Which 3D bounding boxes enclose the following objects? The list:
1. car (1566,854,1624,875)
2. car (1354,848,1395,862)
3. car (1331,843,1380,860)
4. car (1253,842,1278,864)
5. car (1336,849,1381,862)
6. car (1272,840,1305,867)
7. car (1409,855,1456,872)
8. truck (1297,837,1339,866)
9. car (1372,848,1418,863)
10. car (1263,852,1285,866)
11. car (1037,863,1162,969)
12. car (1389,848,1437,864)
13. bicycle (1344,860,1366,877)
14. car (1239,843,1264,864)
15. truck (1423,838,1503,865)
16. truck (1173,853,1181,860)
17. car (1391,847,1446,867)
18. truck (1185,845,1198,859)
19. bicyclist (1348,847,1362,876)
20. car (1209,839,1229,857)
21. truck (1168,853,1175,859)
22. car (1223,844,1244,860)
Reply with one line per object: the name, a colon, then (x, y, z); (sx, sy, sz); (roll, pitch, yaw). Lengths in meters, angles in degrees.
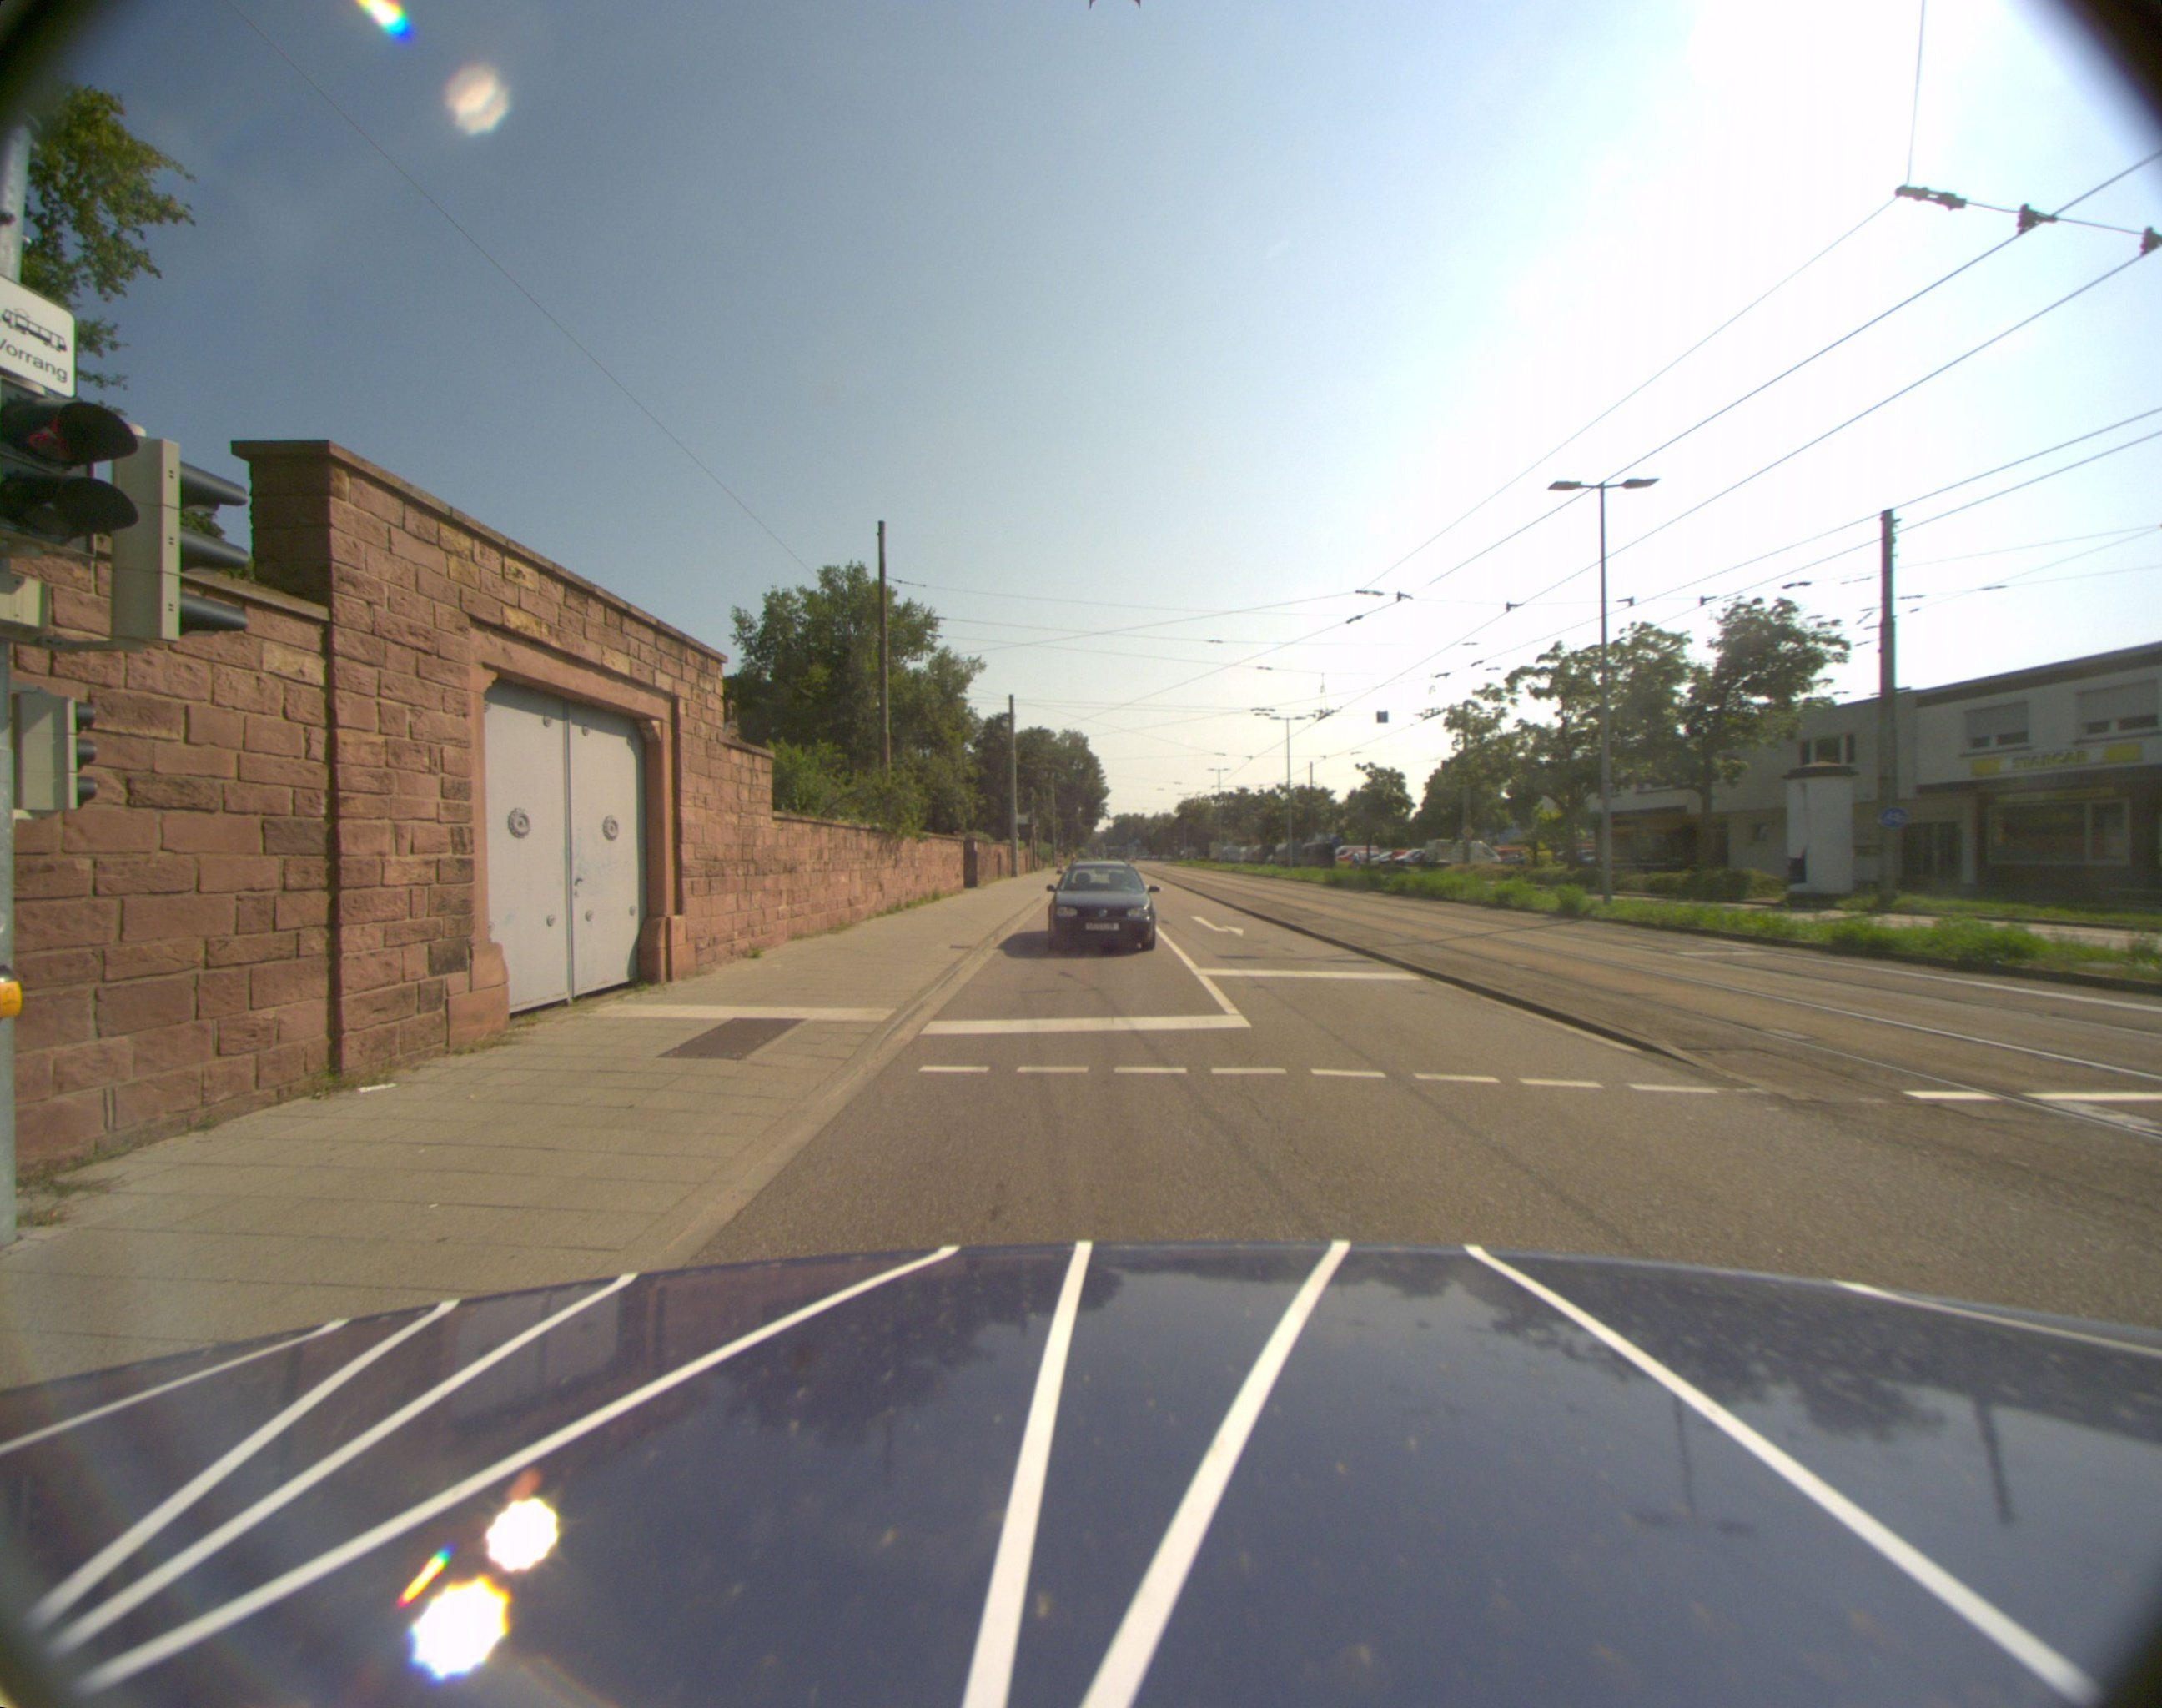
car: (44.965, 0.903, 66.503); (3.810, 1.758, 1.759); (1, 1, 7)
car: (32.731, 0.127, 84.711); (3.933, 1.441, 1.633); (1, 1, 0)
car: (33.471, -0.272, 92.798); (5.198, 1.914, 2.052); (1, 1, 0)
car: (22.214, -0.108, 91.747); (1.826, 2.571, 5.911); (-1, 0, 3)
car: (32.814, 0.128, 89.835); (4.665, 1.441, 1.633); (1, 1, 0)
car: (21.679, -0.074, 79.490); (1.993, 2.571, 6.468); (-1, 0, 4)
car: (31.754, 0.825, 68.713); (3.413, 1.418, 1.633); (1, 1, 0)
truck: (21.559, -0.254, 69.419); (2.086, 2.533, 5.739); (1, 1, 1)
car: (32.340, 0.124, 78.332); (4.164, 1.455, 1.625); (1, 0, 7)
car: (21.712, 0.525, 85.569); (1.748, 1.543, 3.834); (-1, 0, 4)
car: (0.348, 0.909, 12.841); (1.776, 1.416, 3.935); (0, 1, 3)
car: (32.441, 0.194, 74.259); (3.933, 1.510, 1.633); (1, 1, 0)
bicycle: (19.327, 1.012, 53.636); (0.717, 1.085, 2.265); (1, 1, 1)
car: (22.353, -0.063, 99.932); (2.137, 2.571, 5.631); (1, 1, 2)
truck: (32.076, -0.207, 63.884); (5.503, 2.160, 2.259); (1, 1, 0)
truck: (24.830, 0.664, 197.528); (1.691, 1.665, 3.655); (1, 1, 2)
car: (31.755, 0.252, 71.640); (4.409, 1.774, 1.633); (1, 1, 0)
truck: (24.252, -0.443, 167.059); (2.278, 3.103, 8.789); (1, 1, 4)
bicyclist: (19.346, 0.529, 53.602); (0.639, 2.052, 0.774); (1, 1, 1)
car: (22.486, -1.028, 123.893); (2.129, 2.789, 7.231); (1, 1, 2)
truck: (24.778, 0.575, 207.594); (1.691, 1.665, 3.655); (1, 1, 2)
car: (22.840, -0.313, 114.276); (2.148, 2.444, 4.831); (1, 1, 0)
